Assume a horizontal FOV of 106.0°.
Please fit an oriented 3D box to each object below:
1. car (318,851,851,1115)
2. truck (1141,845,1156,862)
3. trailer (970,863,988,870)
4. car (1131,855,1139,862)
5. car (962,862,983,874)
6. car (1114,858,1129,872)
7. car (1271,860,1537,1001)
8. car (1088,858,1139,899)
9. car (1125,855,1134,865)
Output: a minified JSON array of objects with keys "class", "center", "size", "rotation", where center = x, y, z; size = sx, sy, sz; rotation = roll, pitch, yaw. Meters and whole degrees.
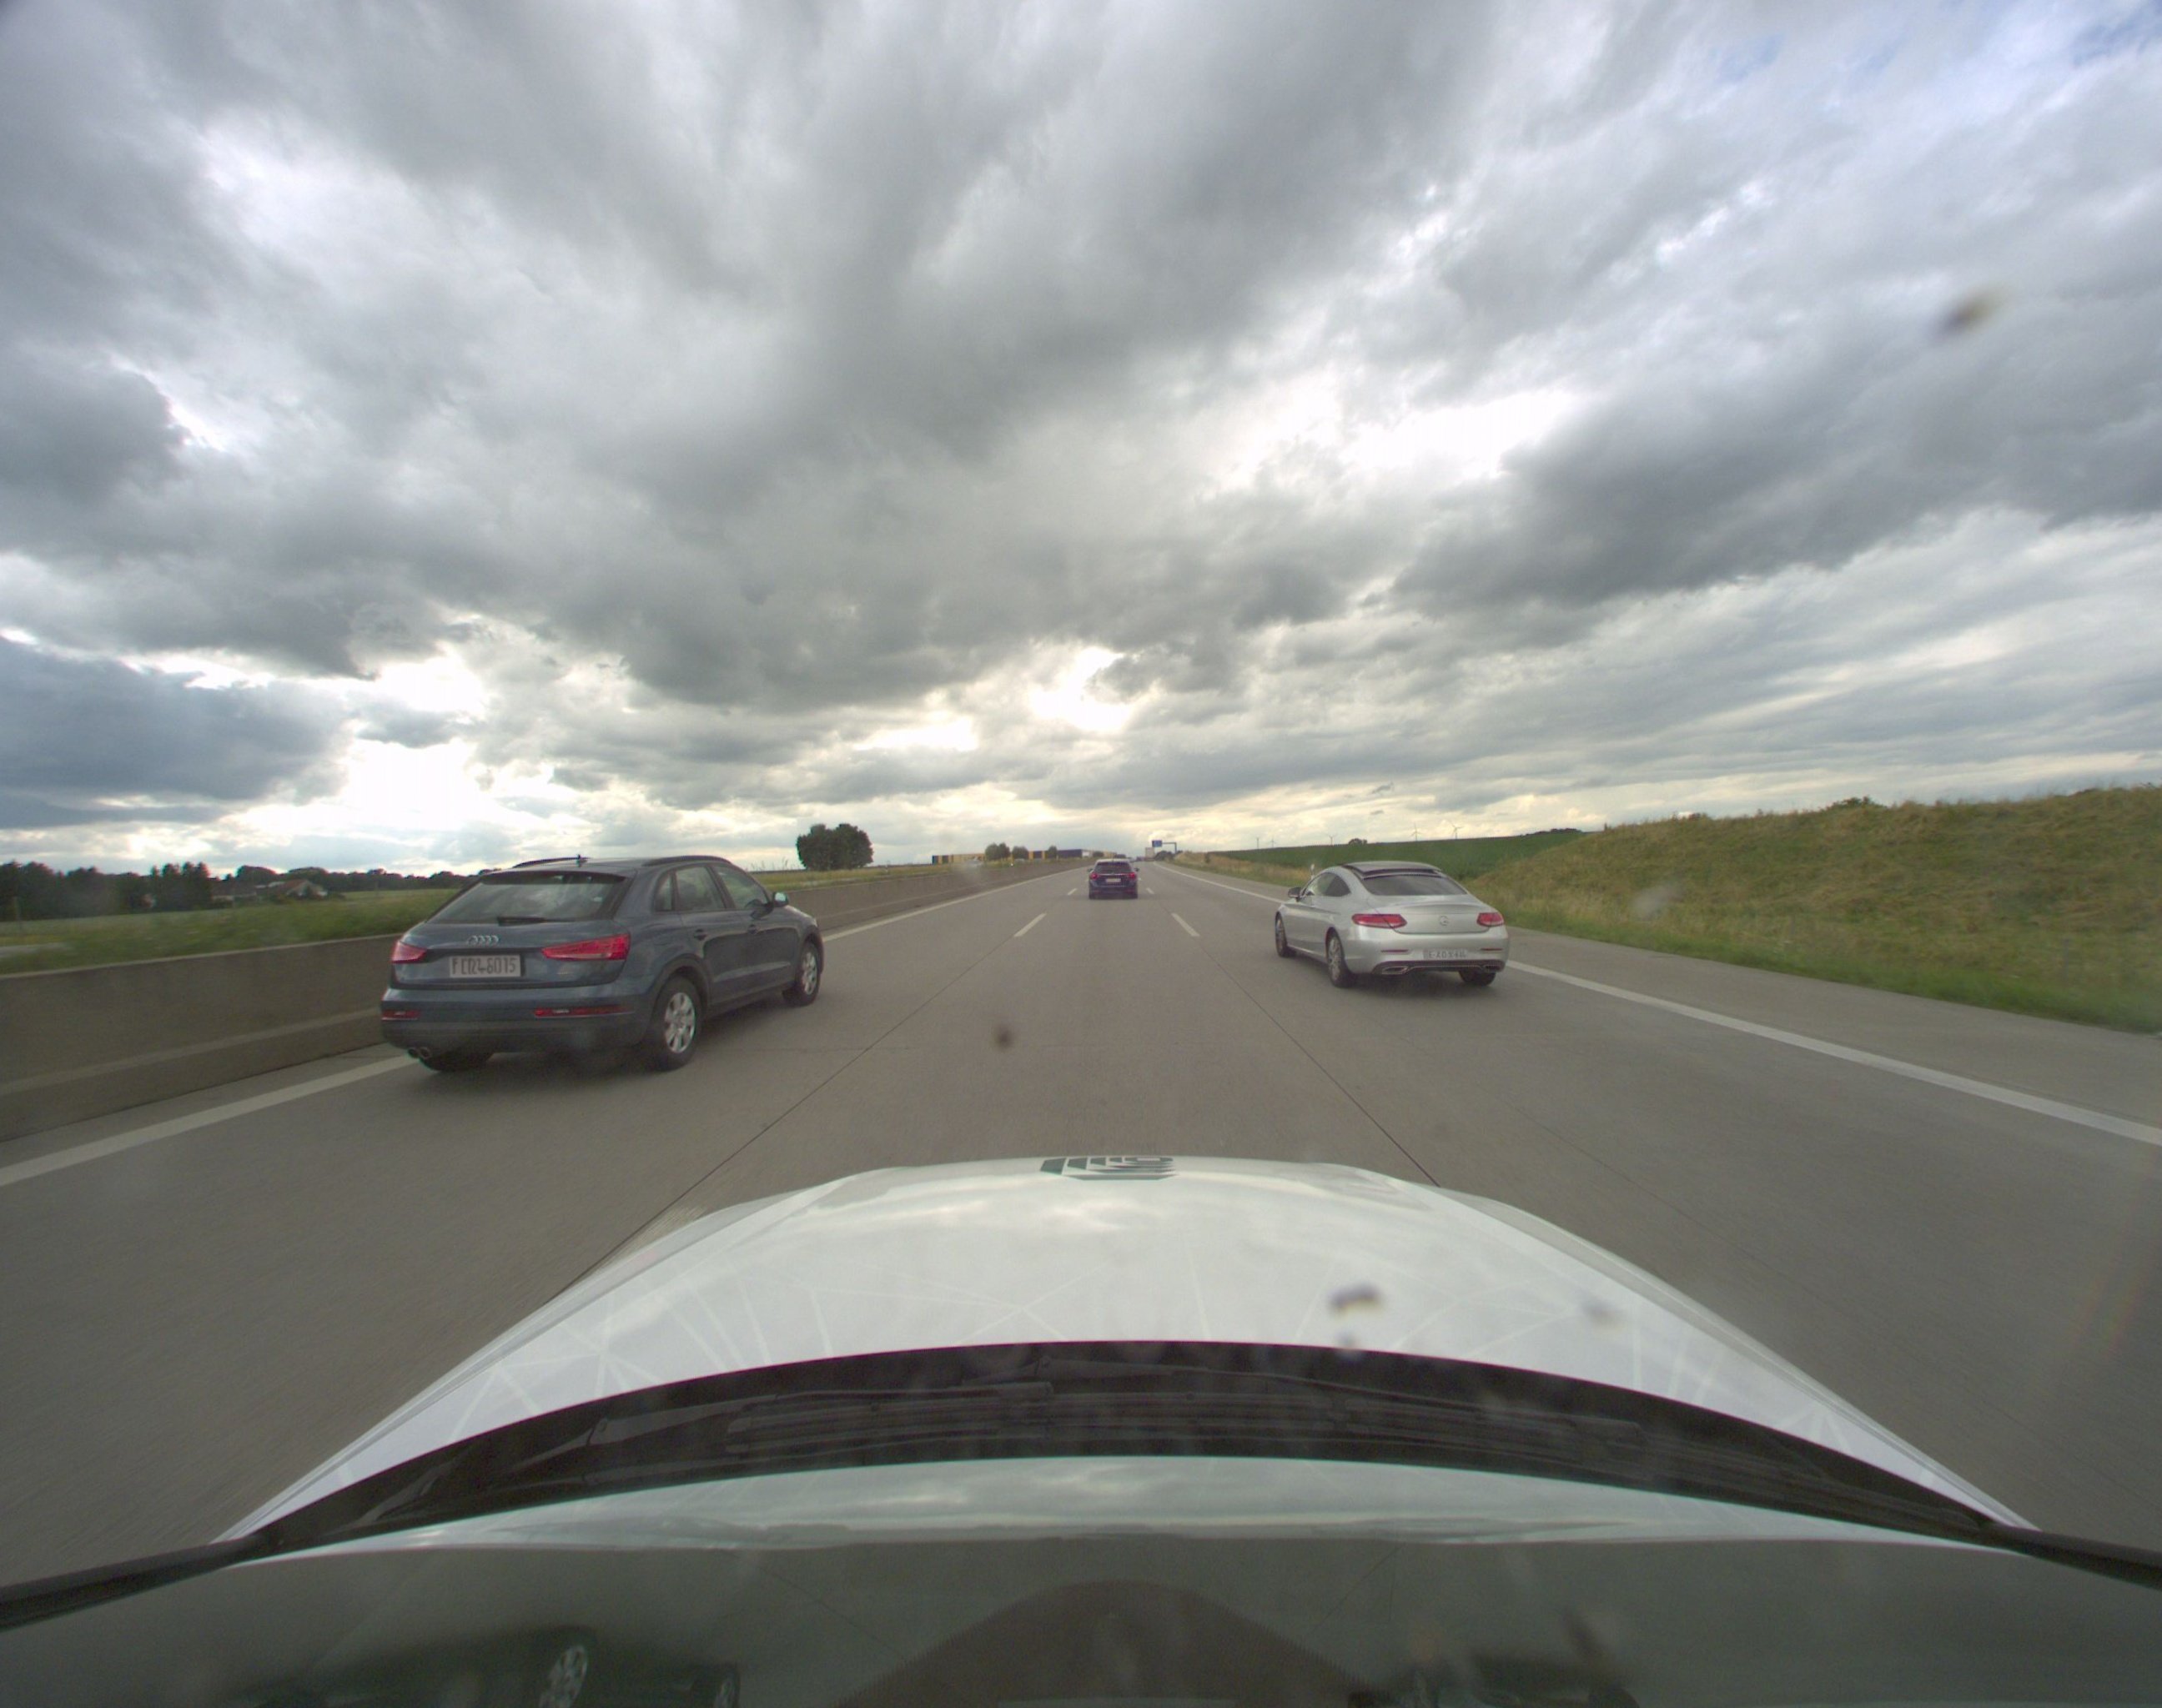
[{"class":"car","center":[-3.750,0.795,7.546],"size":[1.787,1.596,5.155],"rotation":[0,0,0]},{"class":"truck","center":[20.233,-0.065,244.334],"size":[3.936,4.756,12.078],"rotation":[0,-1,1]},{"class":"trailer","center":[-13.917,1.691,111.315],"size":[1.779,0.983,3.566],"rotation":[0,-1,3]},{"class":"car","center":[15.298,1.352,232.022],"size":[1.986,2.014,4.001],"rotation":[0,-1,1]},{"class":"car","center":[-14.211,1.817,107.099],"size":[1.889,1.470,4.853],"rotation":[0,-1,3]},{"class":"car","center":[6.026,1.618,121.633],"size":[1.987,2.014,3.998],"rotation":[0,-1,0]},{"class":"car","center":[3.757,0.796,10.347],"size":[1.782,1.403,4.222],"rotation":[-1,-1,1]},{"class":"car","center":[1.175,0.885,30.516],"size":[1.768,1.413,4.001],"rotation":[-1,-1,1]},{"class":"car","center":[10.791,1.347,182.119],"size":[1.985,2.014,4.002],"rotation":[0,0,2]}]
